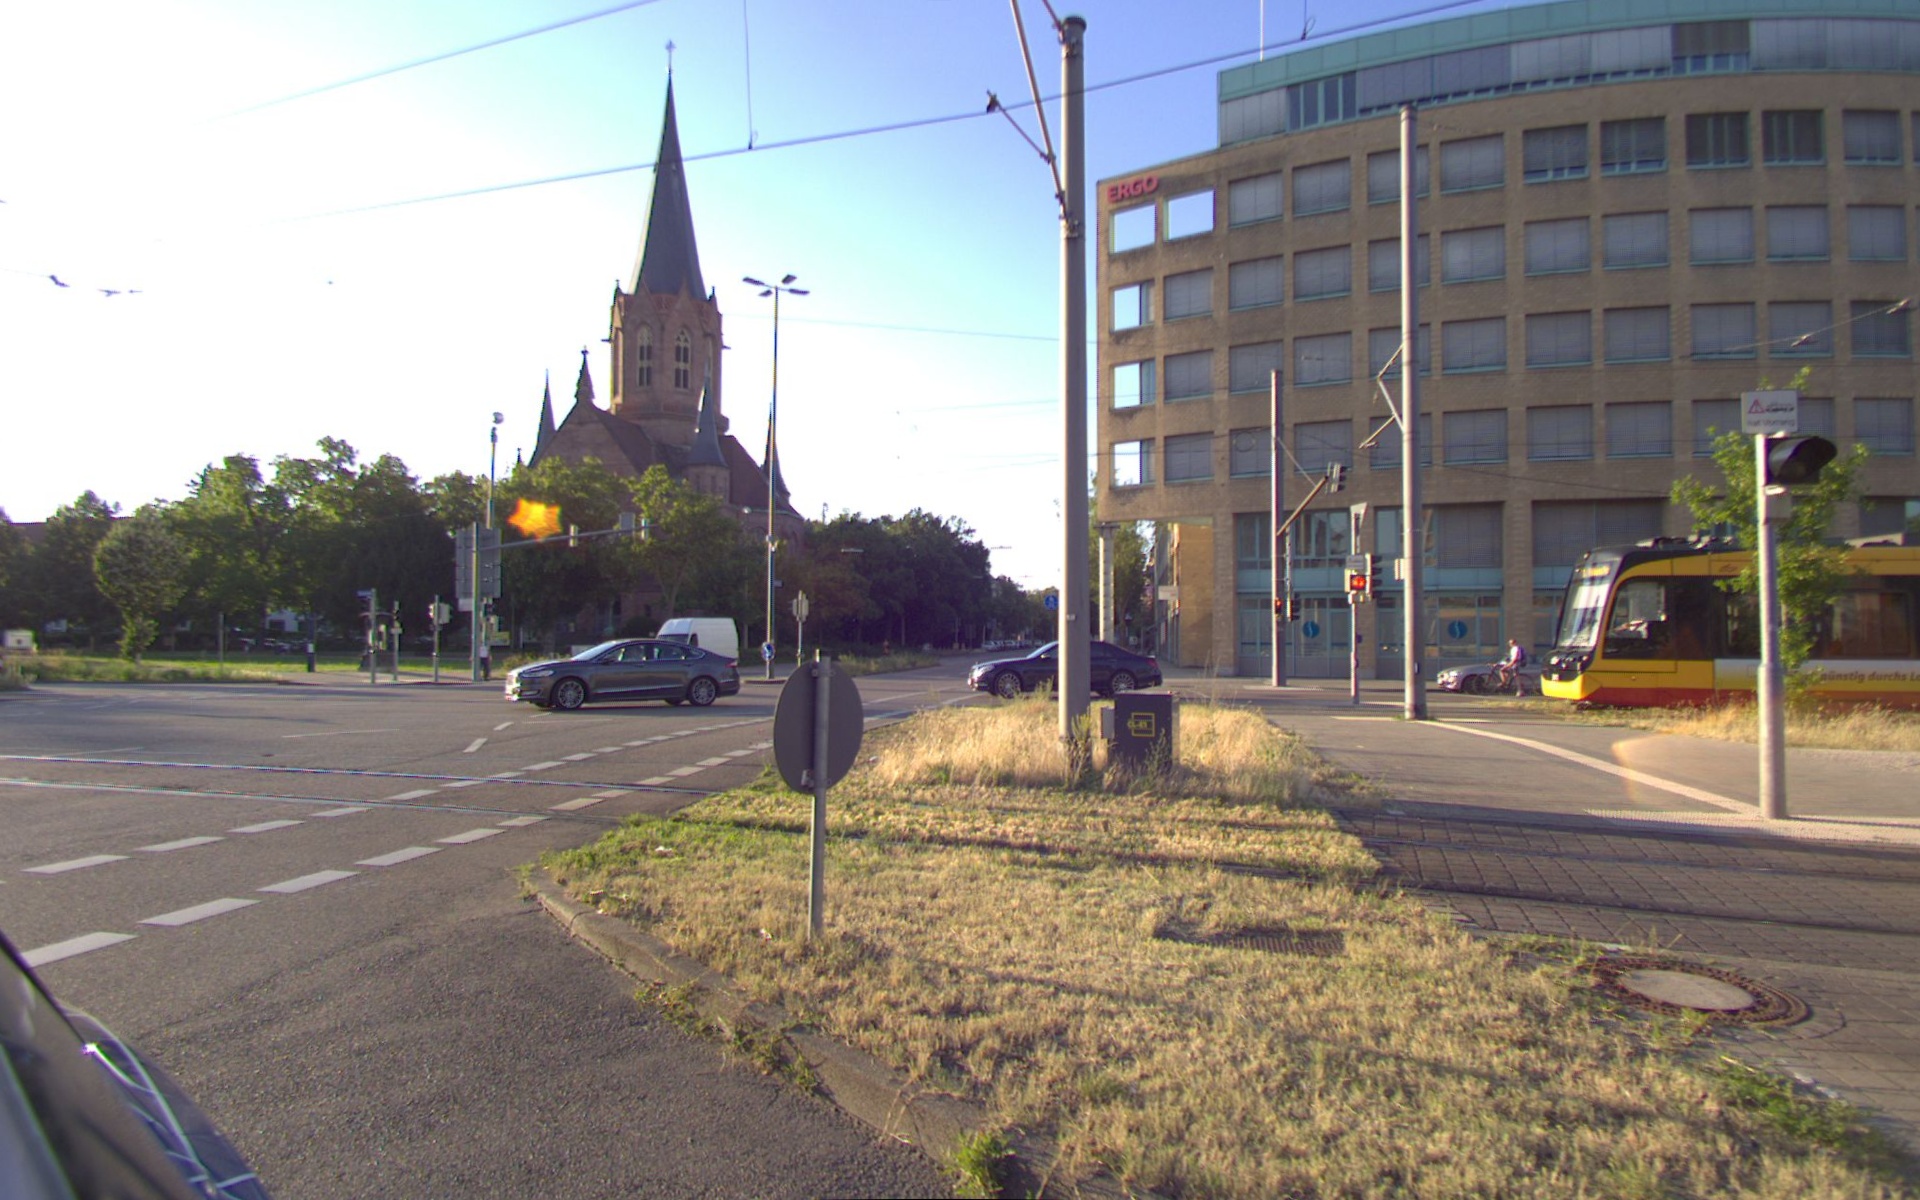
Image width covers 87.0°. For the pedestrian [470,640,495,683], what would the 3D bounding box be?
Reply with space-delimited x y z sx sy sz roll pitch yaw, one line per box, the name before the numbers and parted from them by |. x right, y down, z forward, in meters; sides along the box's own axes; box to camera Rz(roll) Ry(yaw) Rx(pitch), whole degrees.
pedestrian | -19.448 2.498 41.225 0.651 1.694 0.660 -1 -3 12

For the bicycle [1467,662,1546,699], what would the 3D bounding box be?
bicycle | 16.551 2.441 30.667 2.045 1.075 0.437 0 -1 9

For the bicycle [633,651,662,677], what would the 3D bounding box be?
bicycle | -15.679 3.196 50.784 0.486 1.191 1.963 -1 -1 14

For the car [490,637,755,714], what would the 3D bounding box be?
car | -7.072 1.582 21.486 4.959 1.447 1.883 3 -3 -36

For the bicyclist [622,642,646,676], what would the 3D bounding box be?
bicyclist | -15.648 2.837 48.566 0.815 1.580 0.730 -1 -2 15

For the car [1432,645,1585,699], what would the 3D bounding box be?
car | 17.811 2.316 33.059 3.960 1.567 1.992 1 -1 13

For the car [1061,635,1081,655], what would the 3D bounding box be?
car | 13.569 5.479 123.585 2.082 2.441 4.352 -1 -1 10

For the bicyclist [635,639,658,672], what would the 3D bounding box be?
bicyclist | -15.694 2.773 50.699 0.815 1.580 0.730 -1 -2 15

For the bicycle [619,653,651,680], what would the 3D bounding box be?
bicycle | -15.619 3.175 48.662 0.486 1.191 1.963 -1 -1 14

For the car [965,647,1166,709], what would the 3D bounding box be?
car | 2.698 2.019 26.431 4.950 1.519 1.726 1 -3 -5

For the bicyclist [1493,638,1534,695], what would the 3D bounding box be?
bicyclist | 16.753 2.009 30.650 0.784 1.674 0.834 -1 -2 8

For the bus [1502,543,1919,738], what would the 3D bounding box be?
bus | 17.861 0.752 19.889 11.992 3.482 3.750 -1 -1 9

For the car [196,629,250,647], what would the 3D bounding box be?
car | -75.645 3.878 103.886 4.061 1.836 2.006 0 -2 -17

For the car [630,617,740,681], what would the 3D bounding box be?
car | -13.227 2.368 49.328 2.284 2.900 7.177 -1 -2 10
